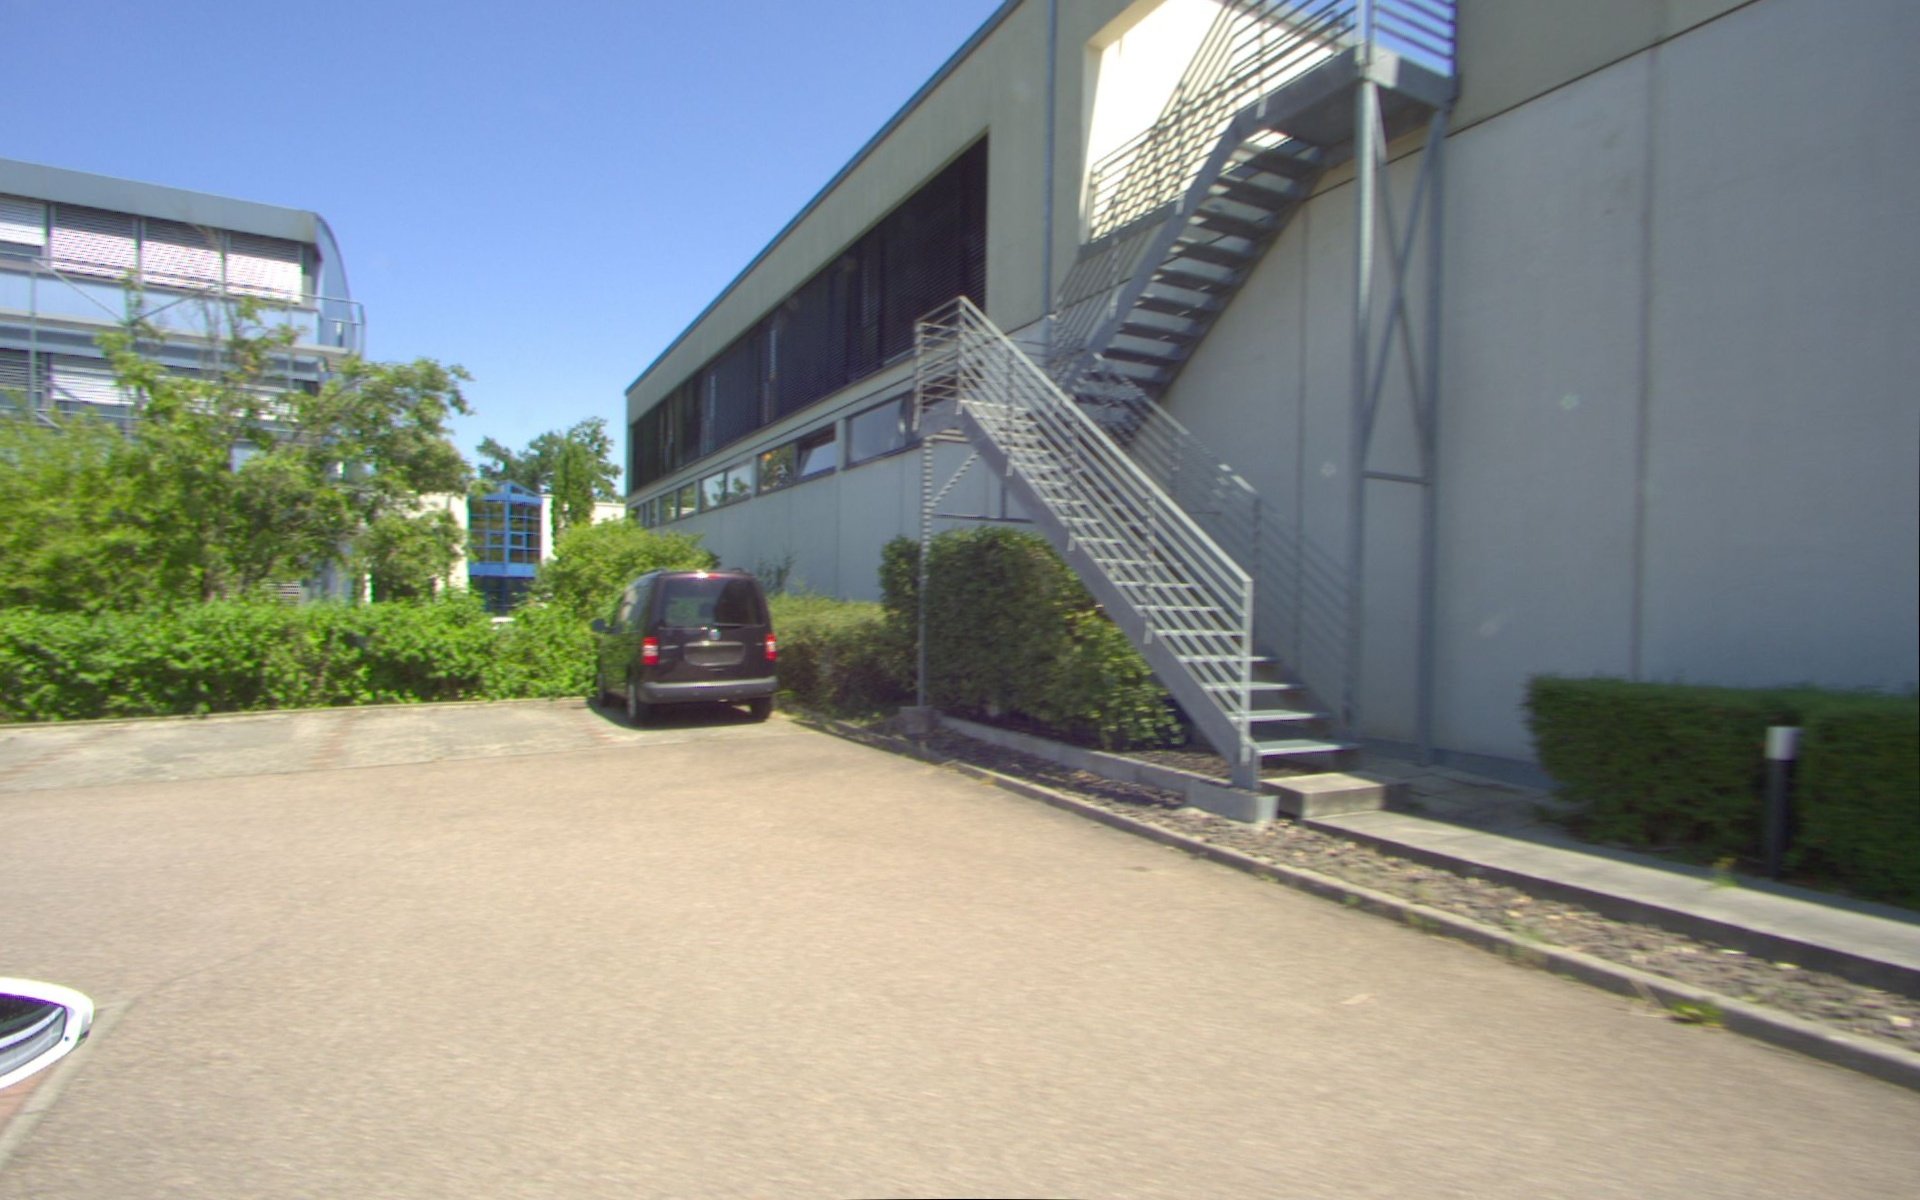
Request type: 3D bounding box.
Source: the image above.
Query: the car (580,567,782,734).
[{"bbox_3d":[-3.831,0.562,13.292,1.723,1.861,3.980,0,0,-29],"label":"car"}]
